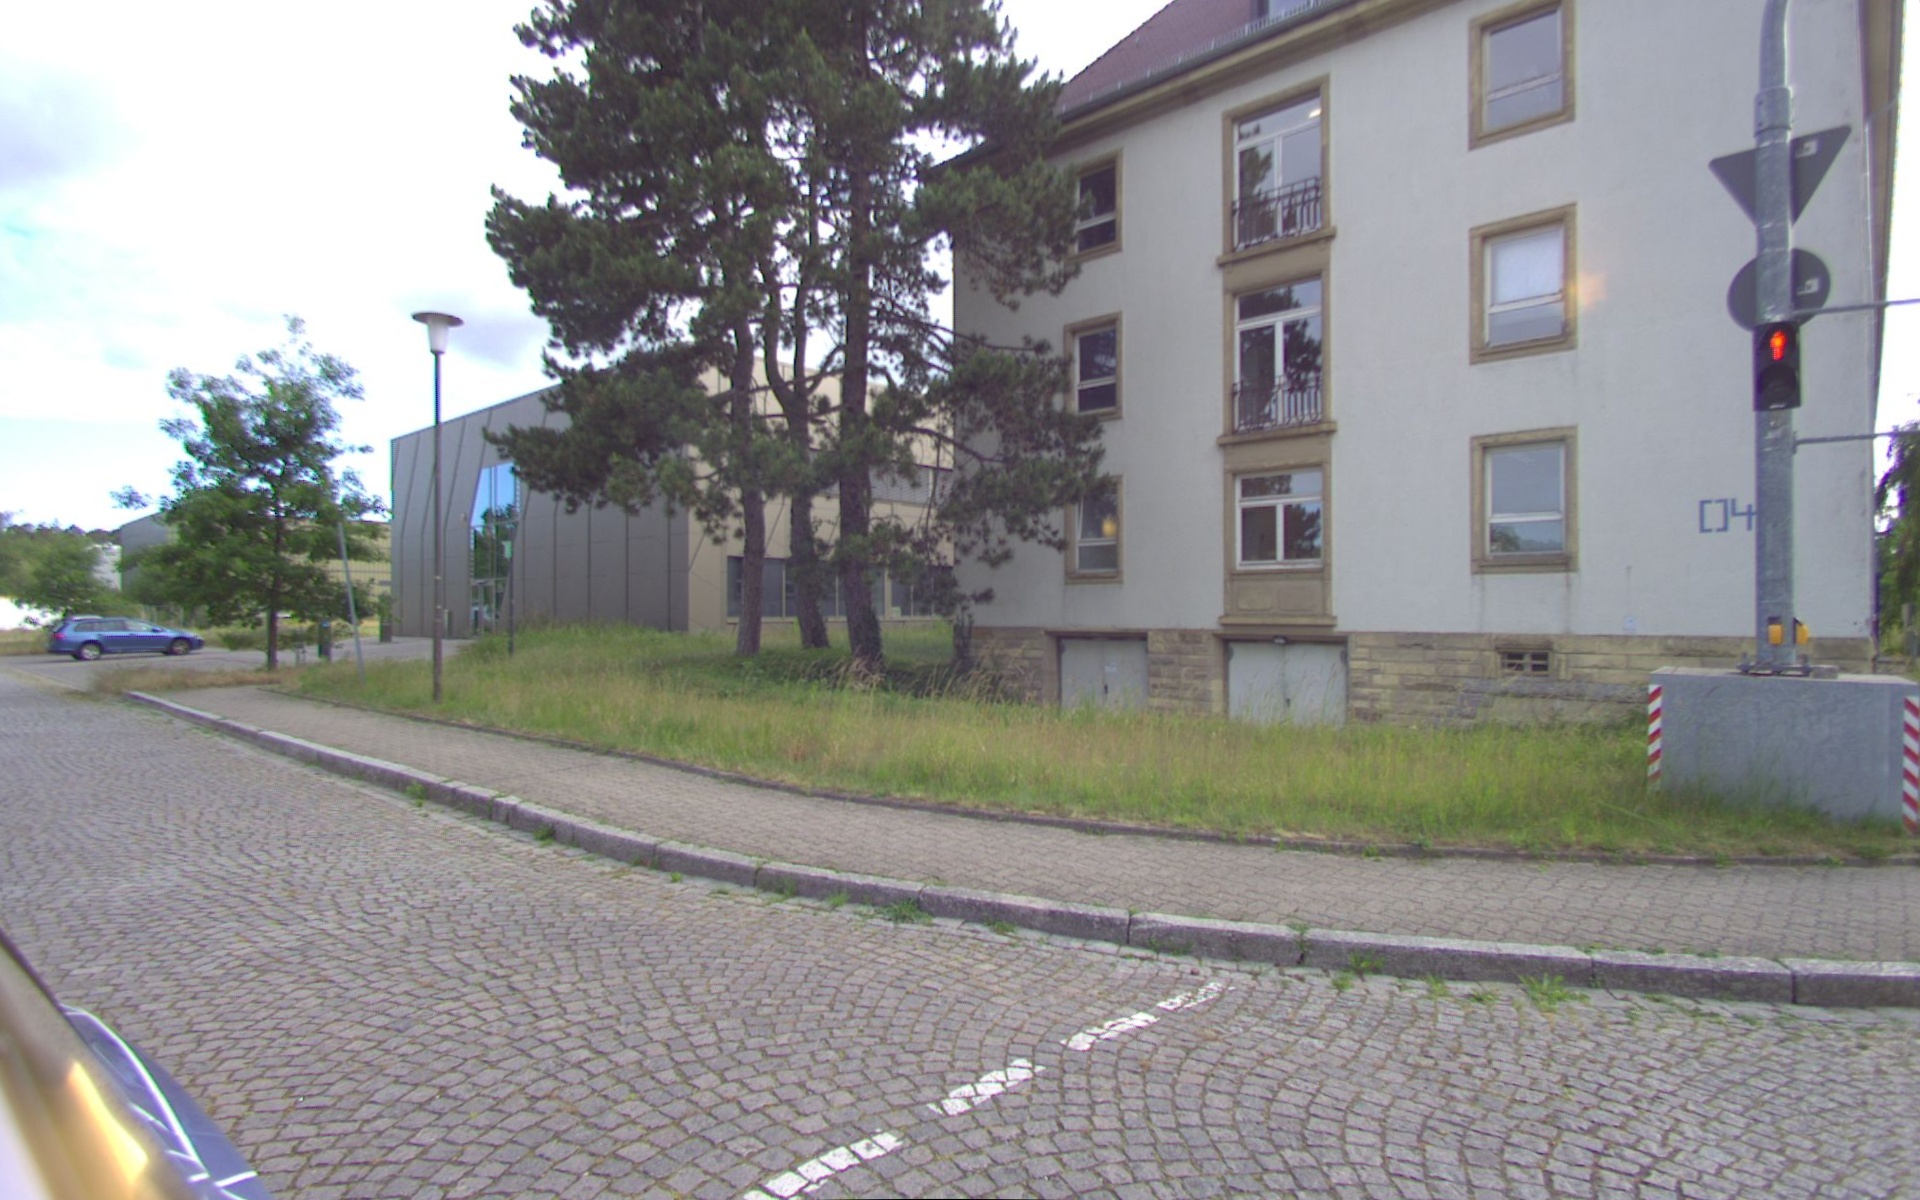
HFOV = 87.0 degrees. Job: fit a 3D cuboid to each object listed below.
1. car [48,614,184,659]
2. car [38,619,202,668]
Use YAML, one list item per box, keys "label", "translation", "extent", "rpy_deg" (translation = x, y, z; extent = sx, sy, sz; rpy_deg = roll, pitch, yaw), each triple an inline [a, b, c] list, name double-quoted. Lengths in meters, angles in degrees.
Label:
- label: "car"
  translation: [-35.554, 1.494, 42.706]
  extent: [1.837, 1.598, 4.141]
  rpy_deg: [-1, 1, 39]
- label: "car"
  translation: [-30.652, 1.545, 37.035]
  extent: [1.837, 1.474, 4.360]
  rpy_deg: [-1, 1, 39]
